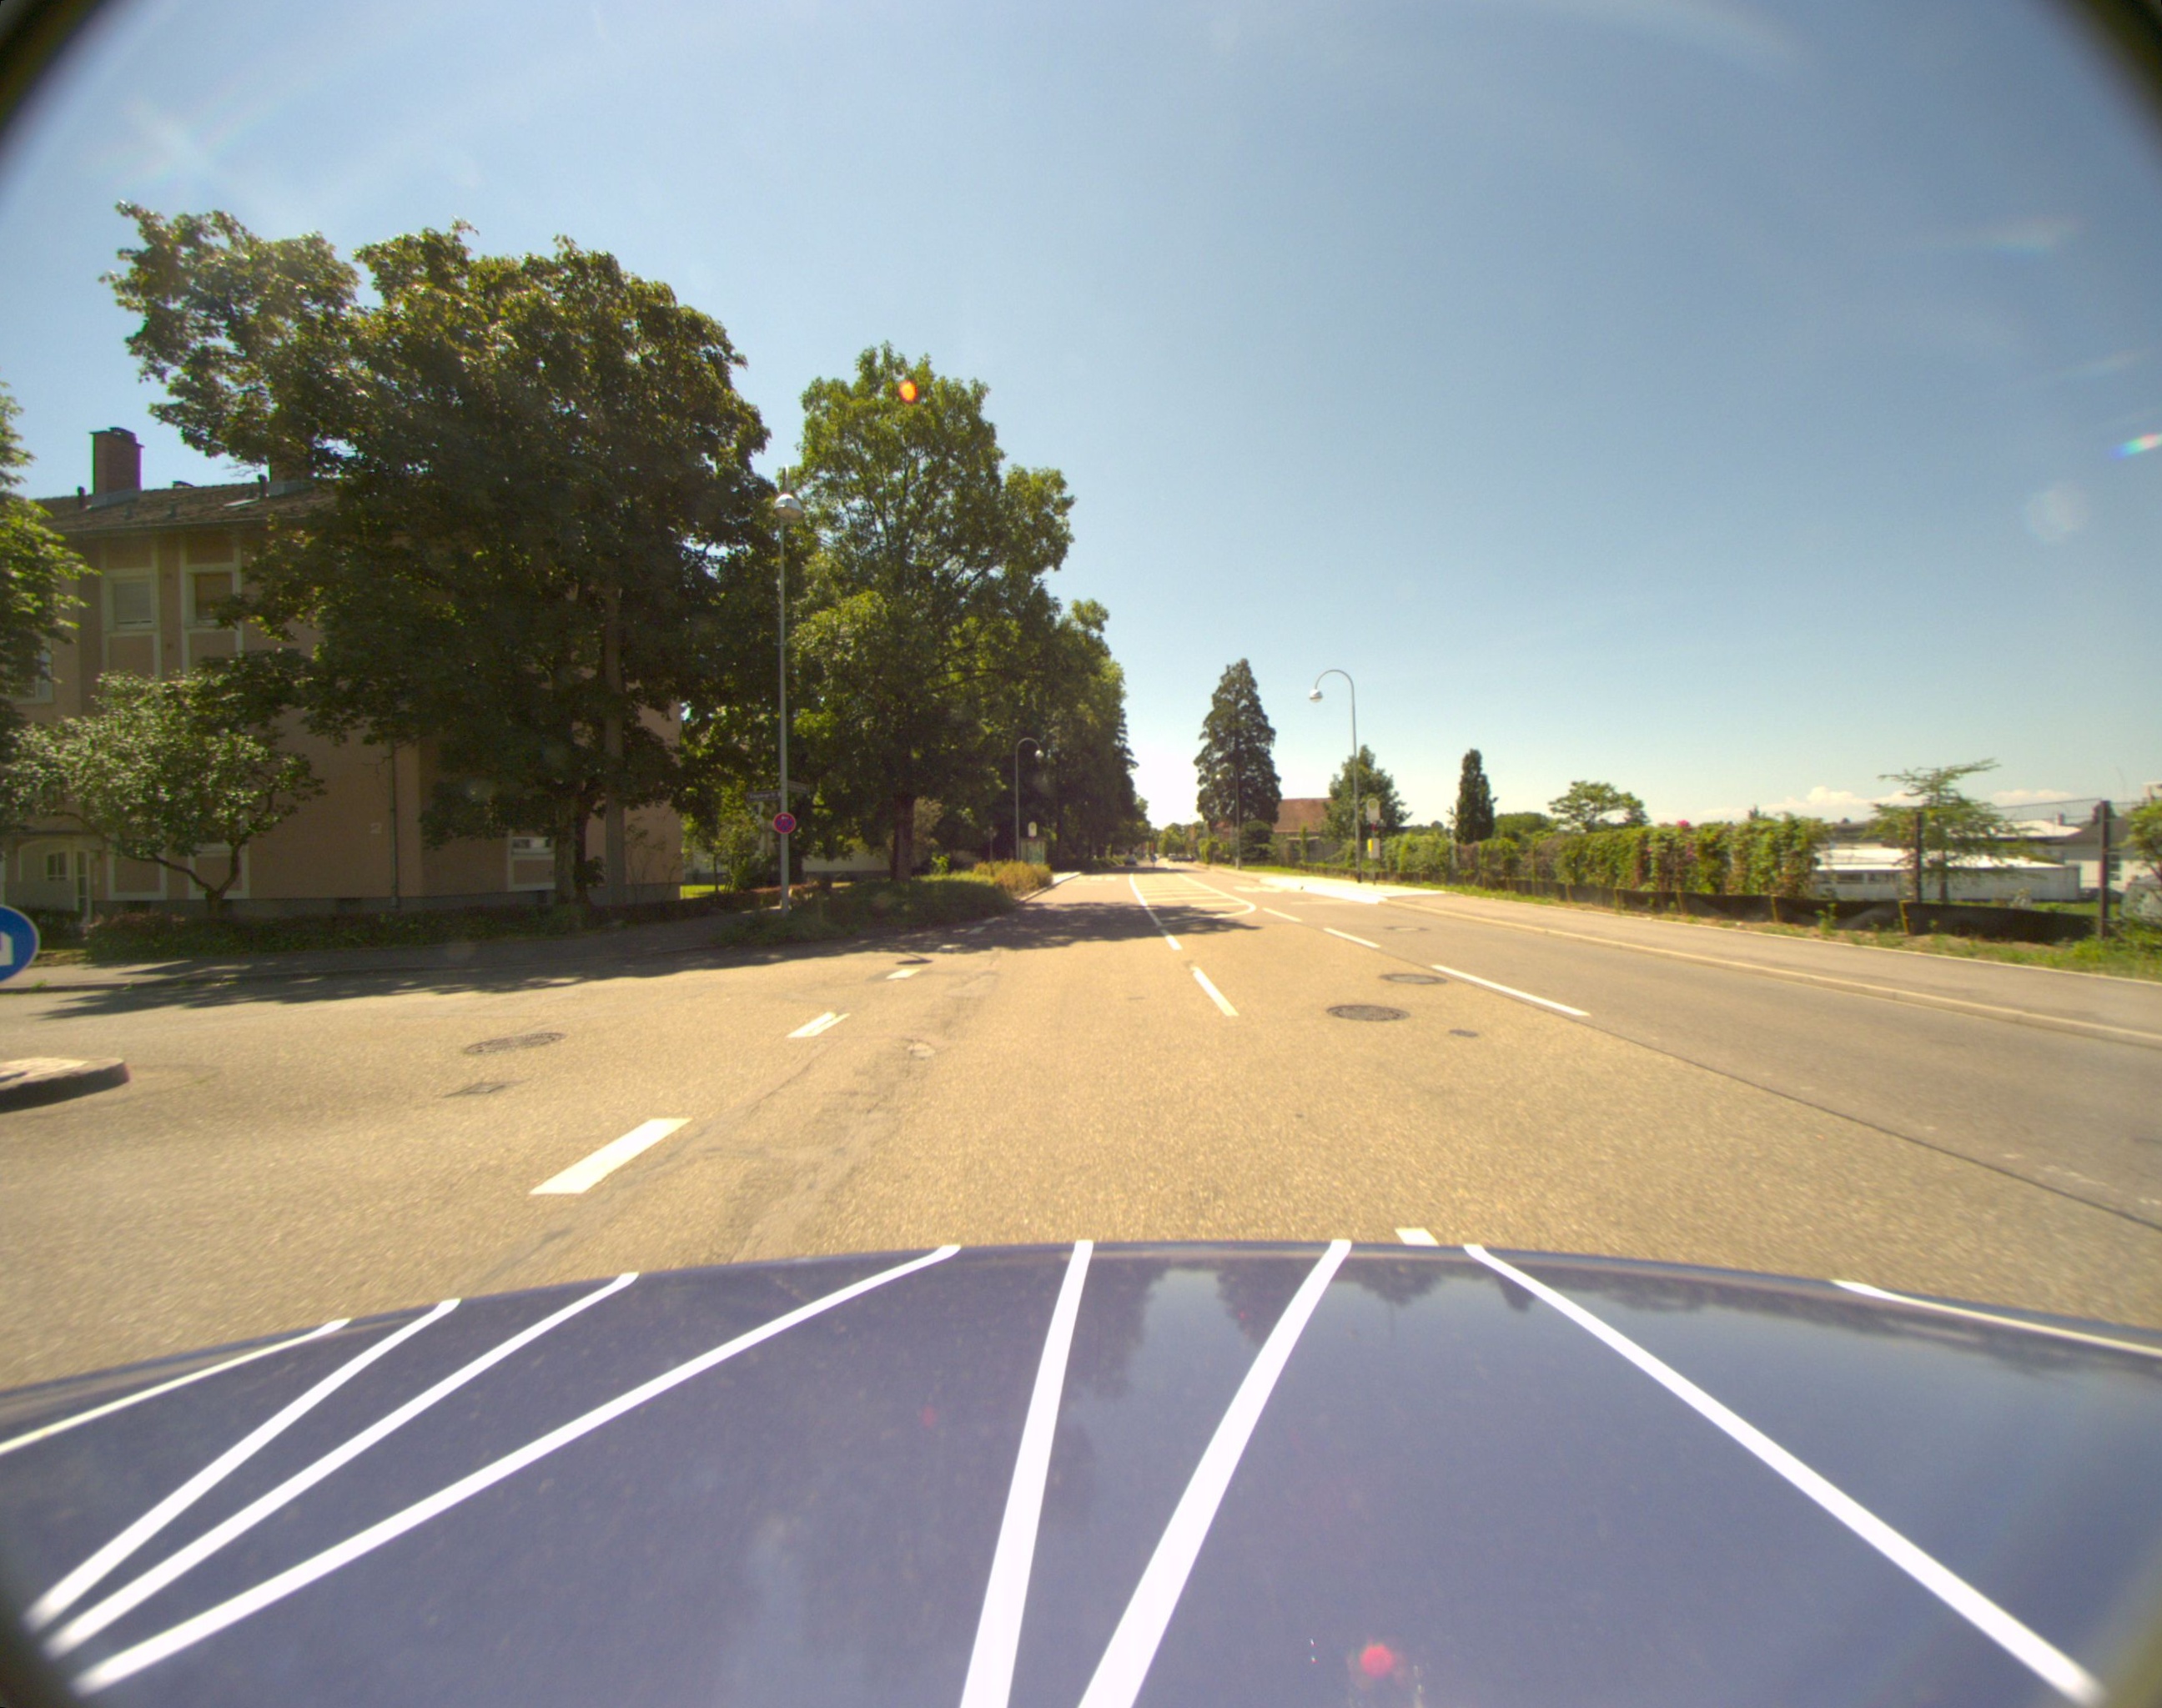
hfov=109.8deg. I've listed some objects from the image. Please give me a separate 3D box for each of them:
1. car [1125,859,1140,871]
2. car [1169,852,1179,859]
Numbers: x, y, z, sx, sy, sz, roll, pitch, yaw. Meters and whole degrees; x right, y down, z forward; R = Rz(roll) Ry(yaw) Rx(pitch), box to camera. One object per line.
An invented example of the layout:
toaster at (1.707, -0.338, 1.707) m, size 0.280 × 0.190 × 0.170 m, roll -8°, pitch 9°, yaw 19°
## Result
car at (7.445, 1.569, 109.189) m, size 1.883 × 1.623 × 4.323 m, roll 0°, pitch 0°, yaw 7°
car at (20.273, 0.323, 165.648) m, size 1.787 × 1.635 × 4.690 m, roll 1°, pitch 0°, yaw 4°
